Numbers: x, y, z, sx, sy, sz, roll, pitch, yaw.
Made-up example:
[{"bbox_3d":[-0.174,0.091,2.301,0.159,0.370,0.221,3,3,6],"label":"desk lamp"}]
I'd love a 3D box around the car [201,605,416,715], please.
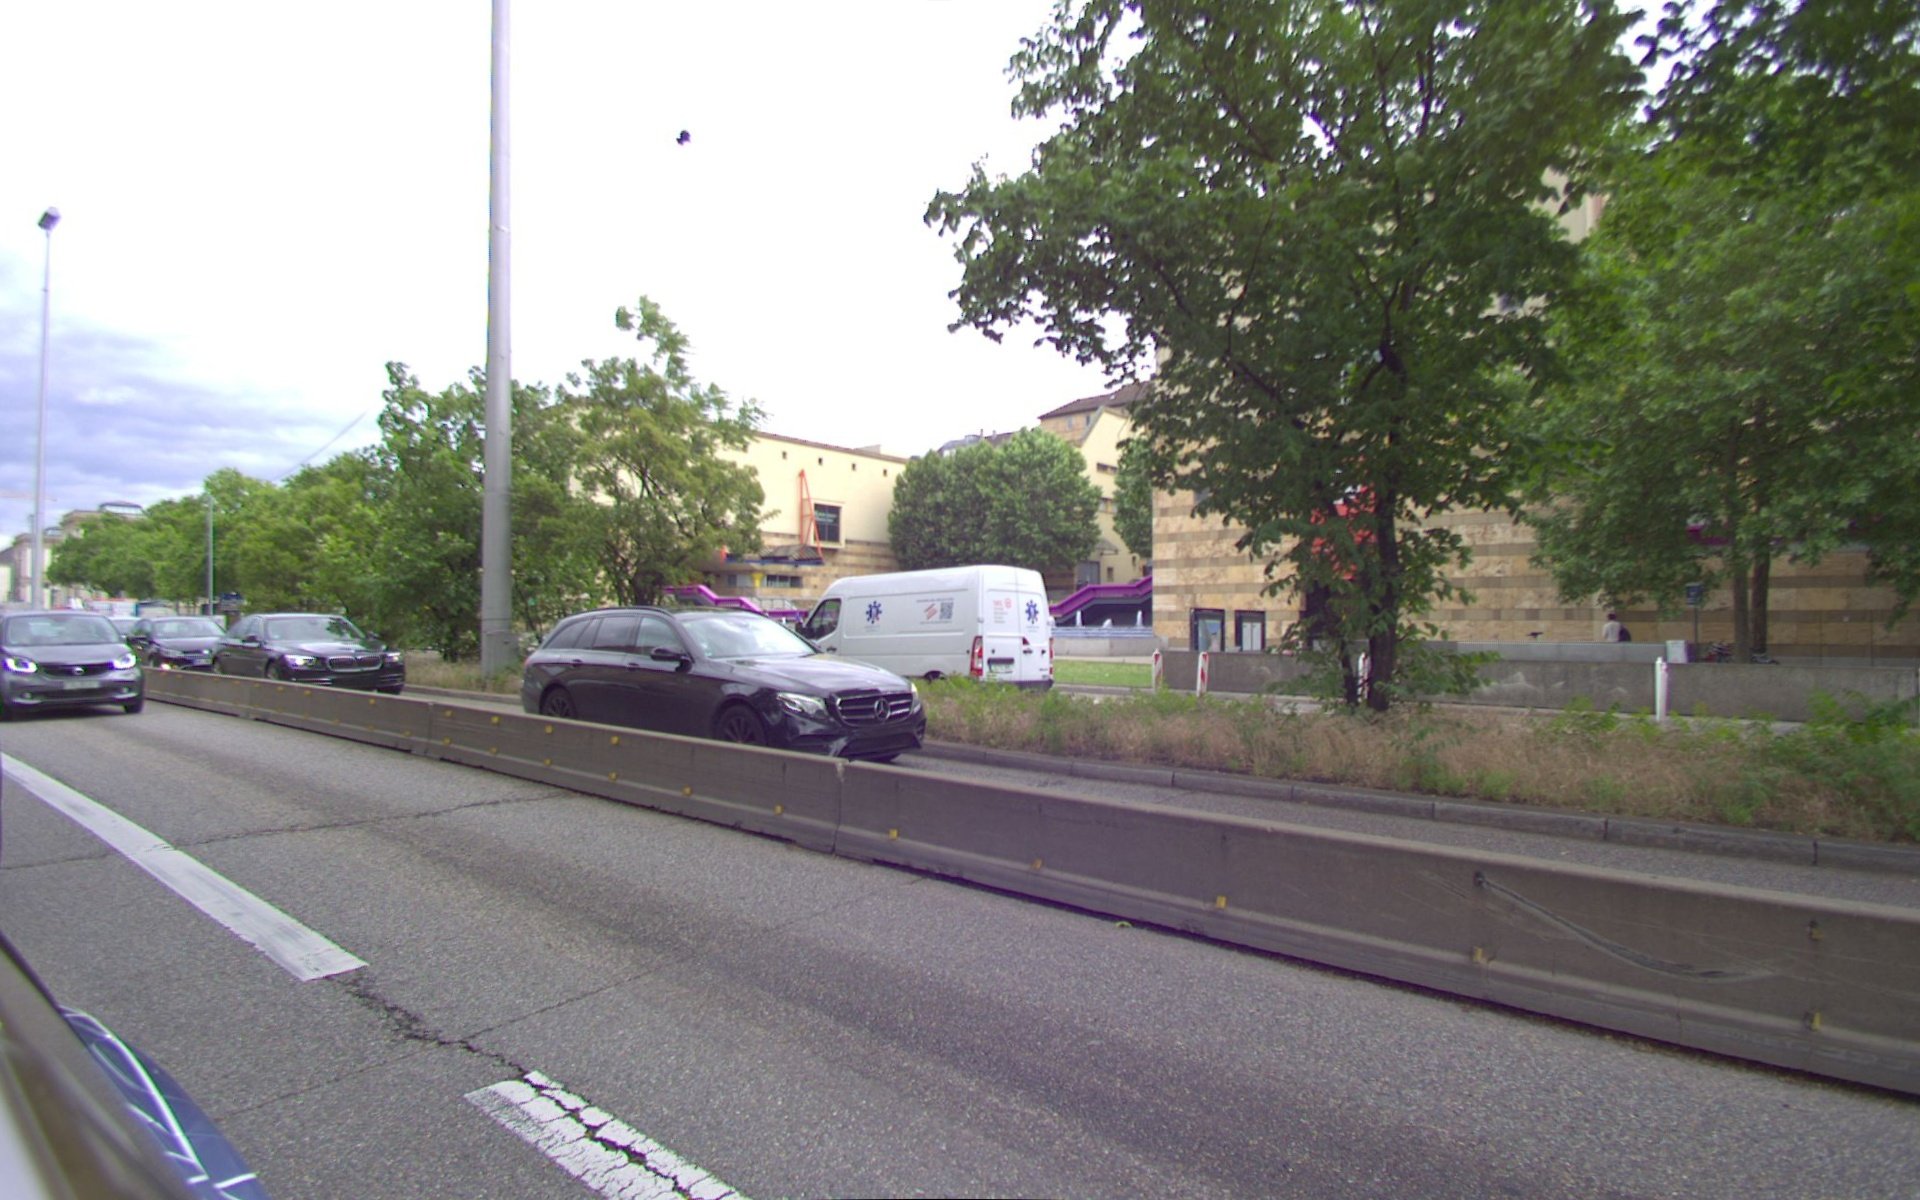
[{"bbox_3d":[-11.358,0.931,17.489,4.935,1.648,1.903,-1,-1,42],"label":"car"}]

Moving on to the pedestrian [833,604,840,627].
[{"bbox_3d":[-8.683,1.081,71.166,0.405,1.623,0.343,-1,0,41],"label":"pedestrian"}]

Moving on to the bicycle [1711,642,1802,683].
[{"bbox_3d":[21.122,1.640,26.865,0.559,0.998,1.847,-1,1,-44],"label":"bicycle"}]

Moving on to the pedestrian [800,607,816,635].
[{"bbox_3d":[-10.214,1.393,68.134,0.803,1.866,0.685,-1,0,41],"label":"pedestrian"}]

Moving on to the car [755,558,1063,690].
[{"bbox_3d":[-1.058,0.435,17.852,5.575,1.984,2.093,-1,-2,41],"label":"car"}]

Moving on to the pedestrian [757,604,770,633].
[{"bbox_3d":[-12.847,1.223,66.000,0.682,1.866,0.806,-1,0,-20],"label":"pedestrian"}]

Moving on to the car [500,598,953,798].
[{"bbox_3d":[-2.458,0.776,9.891,4.764,1.510,1.798,-1,-1,39],"label":"car"}]

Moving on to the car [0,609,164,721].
[{"bbox_3d":[-13.797,0.902,15.595,3.998,1.516,1.668,-1,-1,41],"label":"car"}]

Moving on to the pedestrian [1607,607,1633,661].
[{"bbox_3d":[19.385,0.996,29.731,0.620,1.581,0.434,-1,-2,33],"label":"pedestrian"}]

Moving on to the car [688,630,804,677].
[{"bbox_3d":[-7.583,1.834,35.692,4.520,1.538,1.628,-1,-2,41],"label":"car"}]

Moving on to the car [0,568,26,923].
[{"bbox_3d":[-6.729,0.670,5.232,4.190,1.670,1.887,0,-2,35],"label":"car"}]

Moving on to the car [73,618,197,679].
[{"bbox_3d":[-22.414,1.257,27.454,3.845,1.518,1.658,-1,-1,35],"label":"car"}]

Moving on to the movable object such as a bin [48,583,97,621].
[{"bbox_3d":[-52.811,0.138,60.199,3.286,2.202,1.508,-1,-2,36],"label":"movable object such as a bin"}]

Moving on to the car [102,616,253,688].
[{"bbox_3d":[-17.786,1.116,22.940,4.190,1.465,1.644,-1,-1,37],"label":"car"}]

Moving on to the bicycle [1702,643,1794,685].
[{"bbox_3d":[20.555,1.653,26.423,0.483,1.002,1.847,-1,1,-44],"label":"bicycle"}]
